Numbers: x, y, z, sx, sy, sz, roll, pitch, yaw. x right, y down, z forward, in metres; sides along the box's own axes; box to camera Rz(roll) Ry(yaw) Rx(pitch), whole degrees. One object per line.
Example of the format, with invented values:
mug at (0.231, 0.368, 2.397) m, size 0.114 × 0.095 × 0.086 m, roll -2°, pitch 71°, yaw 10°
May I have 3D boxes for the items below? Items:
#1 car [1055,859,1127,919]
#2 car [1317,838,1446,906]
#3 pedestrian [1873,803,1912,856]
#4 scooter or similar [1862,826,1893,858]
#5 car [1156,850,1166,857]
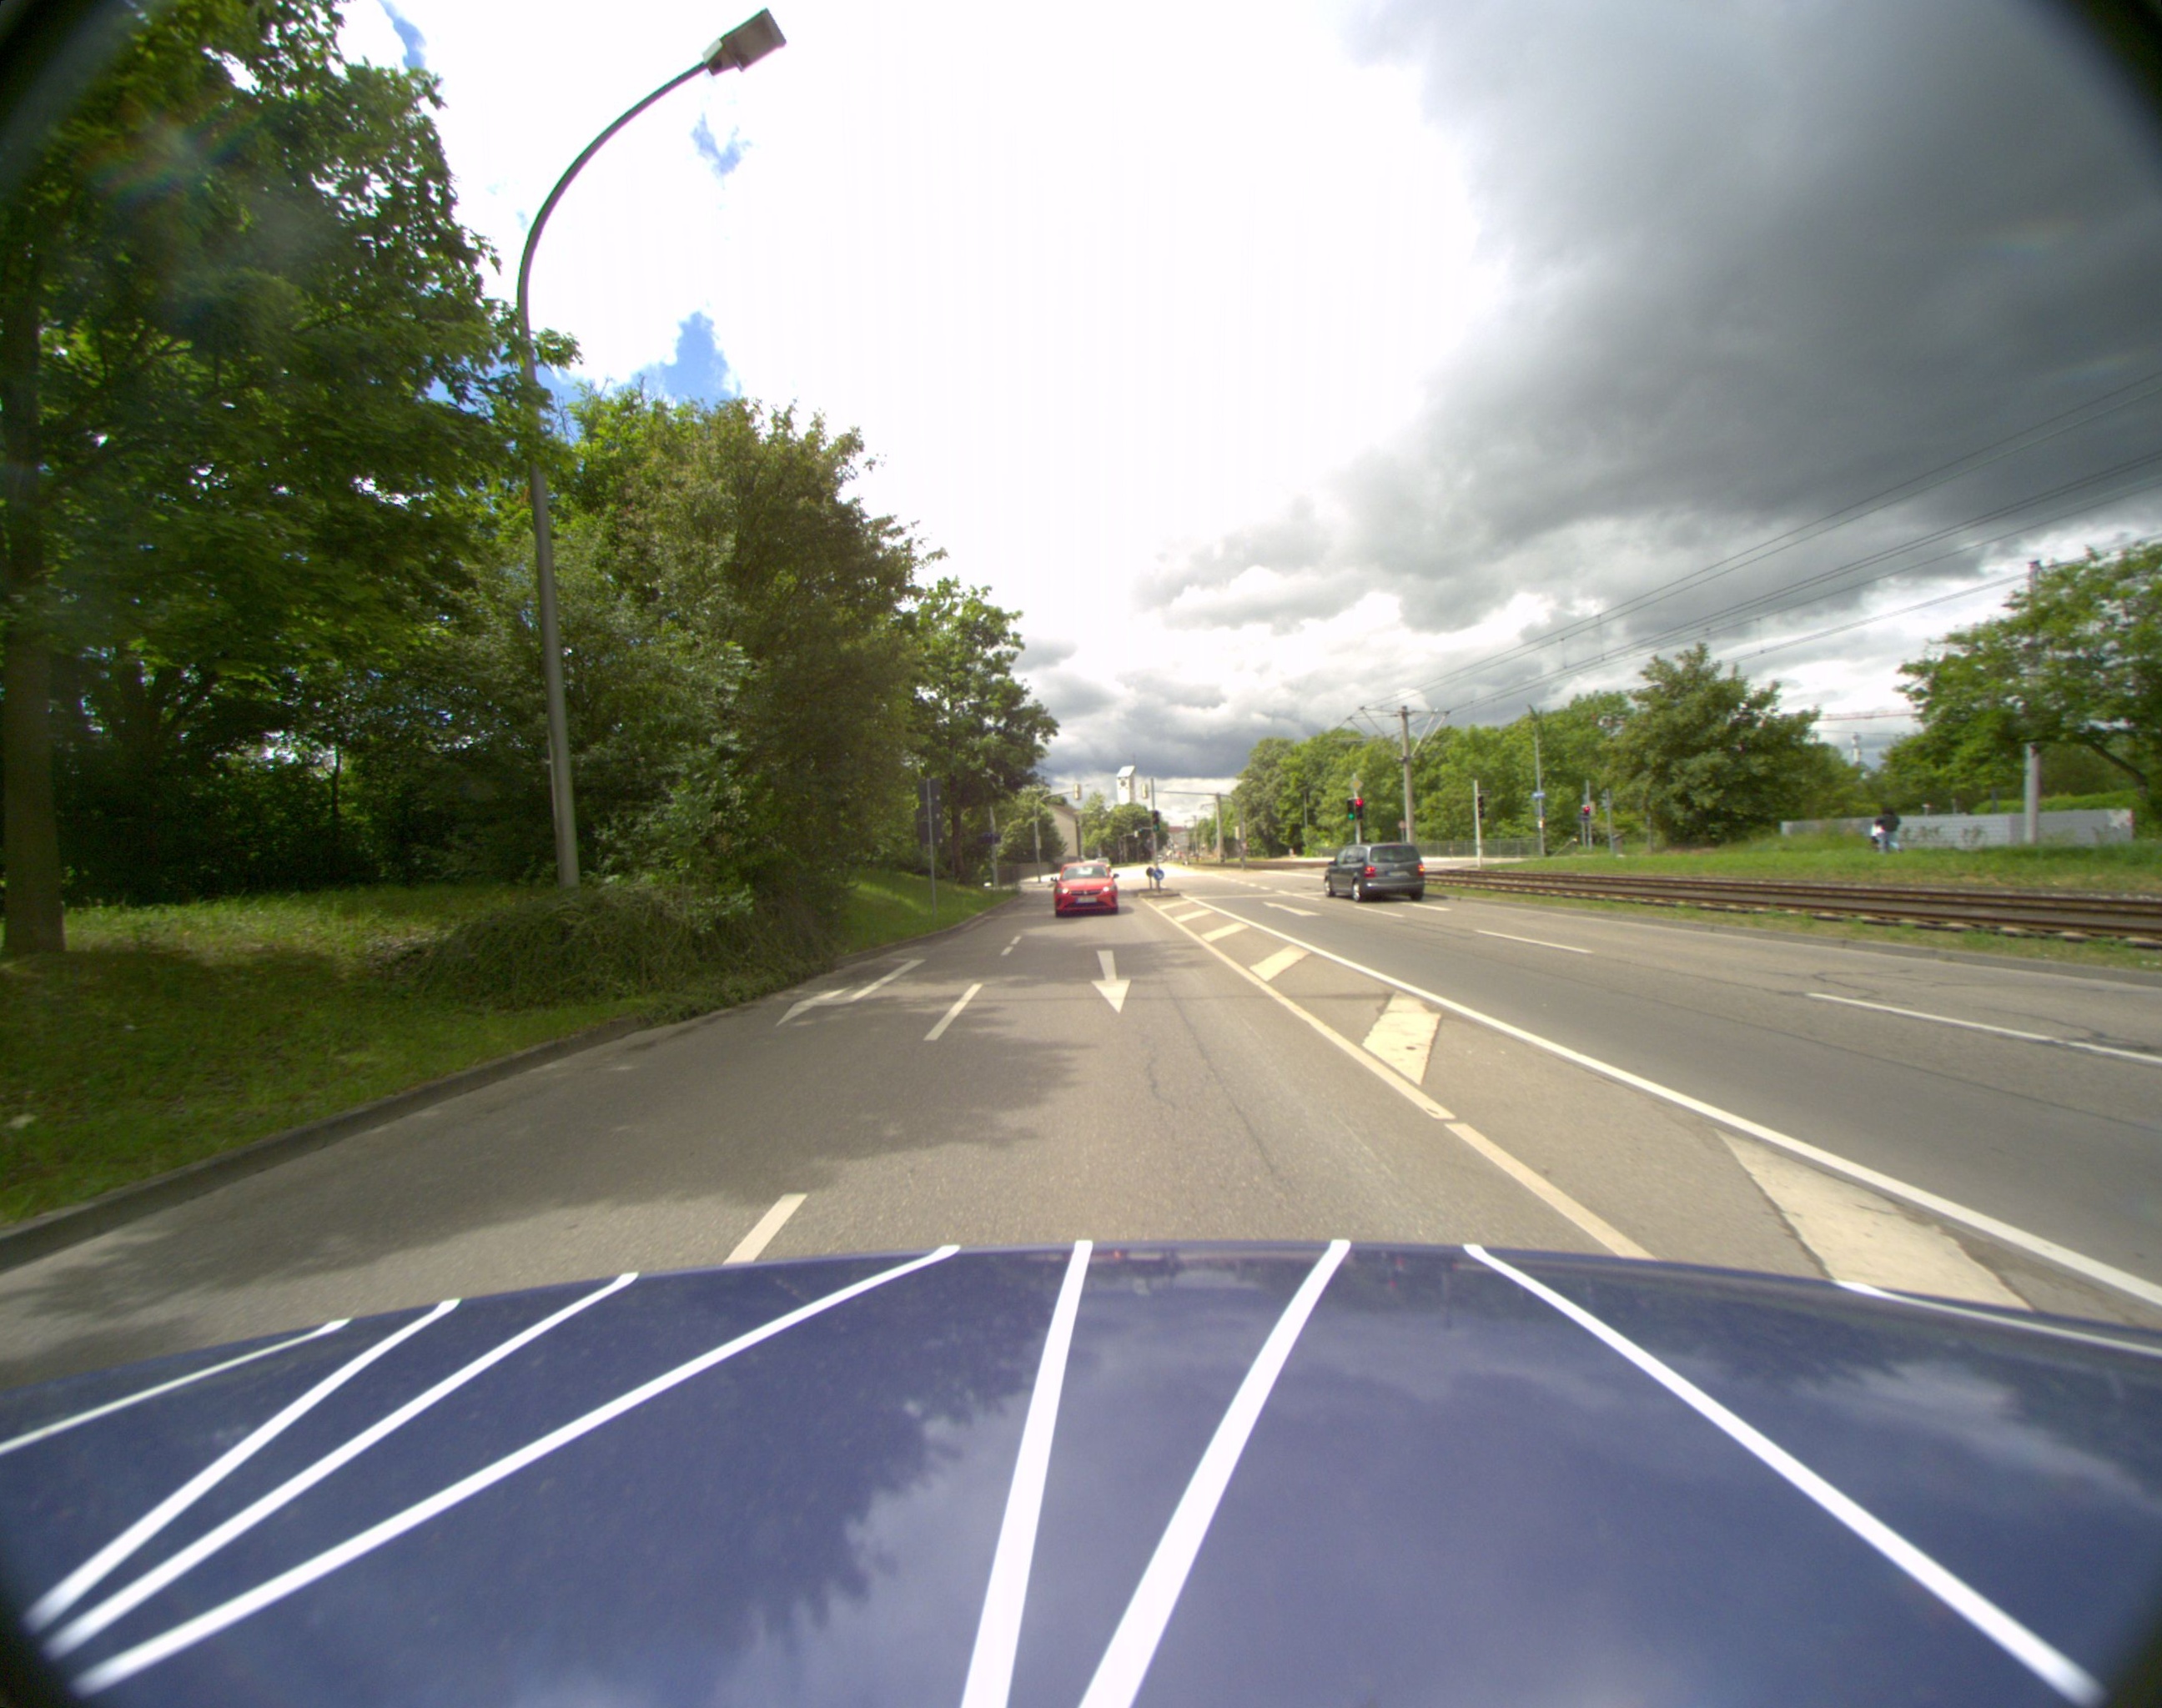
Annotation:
car at (0.249, 0.923, 22.108) m, size 1.790 × 1.453 × 4.853 m, roll -3°, pitch -1°, yaw 0°
car at (8.485, 0.425, 21.929) m, size 1.998 × 1.650 × 4.522 m, roll -3°, pitch 1°, yaw 2°
pedestrian at (27.262, -0.814, 25.521) m, size 0.491 × 1.713 × 0.800 m, roll -3°, pitch 2°, yaw 11°
scooter or similar at (27.554, -0.419, 26.299) m, size 0.381 × 1.070 × 0.718 m, roll -3°, pitch 1°, yaw 13°
car at (16.328, -0.148, 156.104) m, size 1.789 × 1.340 × 4.853 m, roll -3°, pitch 1°, yaw 4°
